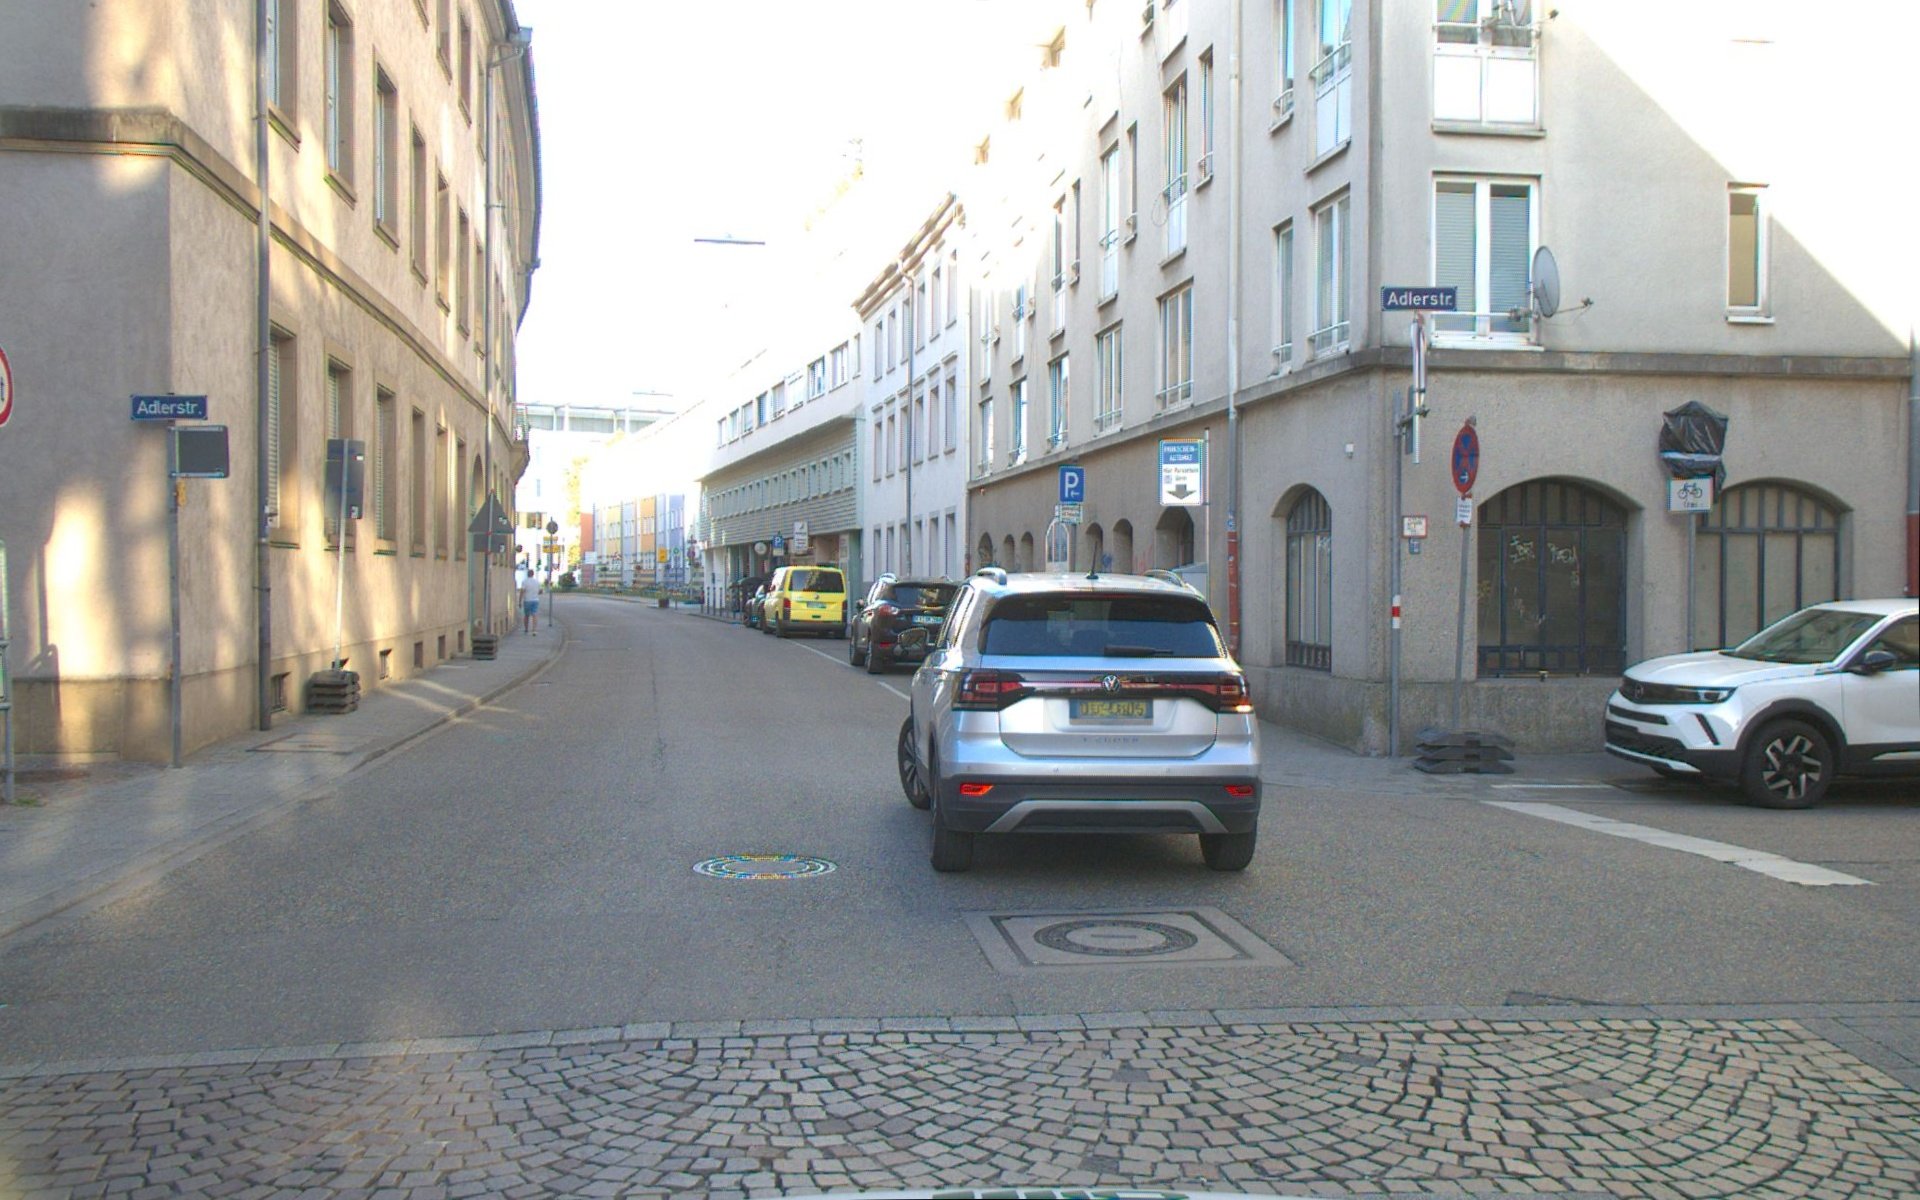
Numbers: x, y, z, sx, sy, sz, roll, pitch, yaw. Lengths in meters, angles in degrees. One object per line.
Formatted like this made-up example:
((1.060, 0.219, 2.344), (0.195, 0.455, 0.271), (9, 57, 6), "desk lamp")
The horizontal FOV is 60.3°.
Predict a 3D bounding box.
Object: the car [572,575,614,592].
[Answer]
((-38.282, -1.752, 172.637), (4.029, 1.698, 1.699), (0, 1, -35), "car")

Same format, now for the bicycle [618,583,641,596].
((-26.691, -0.873, 133.511), (1.751, 1.018, 0.544), (0, 0, -16), "bicycle")

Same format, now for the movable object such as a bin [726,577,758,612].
((-9.426, -0.248, 71.492), (1.114, 1.505, 1.731), (0, 1, -18), "movable object such as a bin")

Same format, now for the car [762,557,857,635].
((-4.219, -0.133, 45.772), (2.018, 2.049, 4.160), (0, 1, -14), "car")

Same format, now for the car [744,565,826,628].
((-5.494, -0.135, 51.505), (2.018, 1.905, 4.085), (0, 1, -14), "car")

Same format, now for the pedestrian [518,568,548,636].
((-11.055, 0.049, 42.799), (0.753, 1.754, 0.684), (0, 0, -16), "pedestrian")

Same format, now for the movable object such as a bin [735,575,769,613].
((-8.792, -0.249, 69.816), (1.114, 1.585, 1.731), (0, 1, -18), "movable object such as a bin")

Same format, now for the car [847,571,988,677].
((-0.841, 0.374, 29.446), (1.932, 1.721, 4.092), (1, 1, -10), "car")

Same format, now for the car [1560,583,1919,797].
((7.276, 0.682, 13.390), (4.132, 1.580, 1.900), (1, 1, -4), "car")

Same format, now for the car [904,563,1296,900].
((0.608, 0.594, 9.905), (1.800, 1.589, 3.998), (0, 1, -3), "car")
